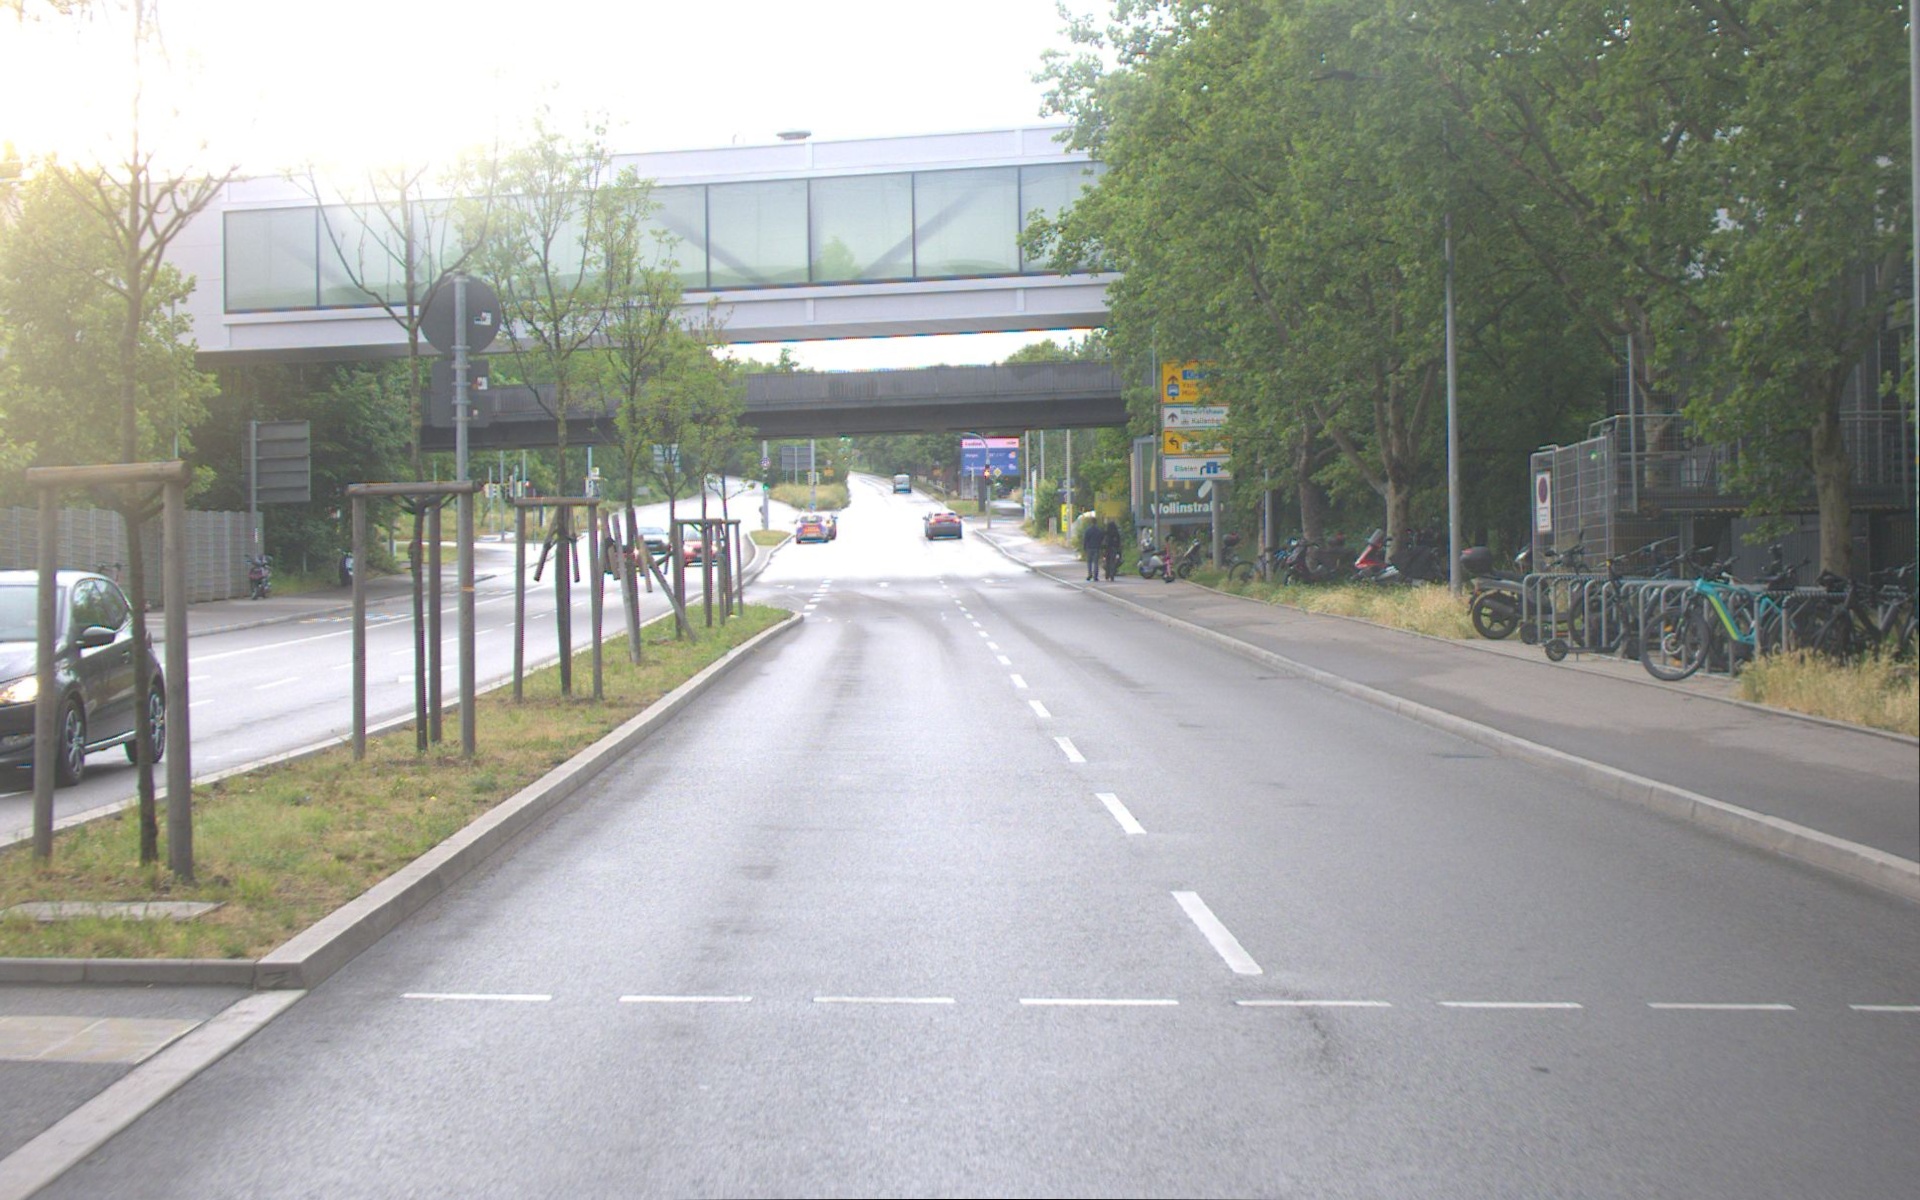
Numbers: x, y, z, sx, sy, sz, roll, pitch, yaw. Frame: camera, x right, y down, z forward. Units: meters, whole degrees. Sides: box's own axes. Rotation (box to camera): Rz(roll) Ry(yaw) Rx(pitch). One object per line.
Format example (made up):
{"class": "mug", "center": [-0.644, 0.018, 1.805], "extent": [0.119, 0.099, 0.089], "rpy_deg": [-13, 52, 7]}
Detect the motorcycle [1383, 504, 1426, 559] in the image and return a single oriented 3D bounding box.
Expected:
{"class": "motorcycle", "center": [10.795, -1.669, 83.400], "extent": [0.348, 1.275, 2.068], "rpy_deg": [0, 2, 27]}

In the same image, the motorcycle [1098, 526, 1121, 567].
{"class": "motorcycle", "center": [4.217, -1.522, 96.962], "extent": [0.469, 1.132, 1.819], "rpy_deg": [-1, 1, -2]}

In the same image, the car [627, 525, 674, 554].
{"class": "car", "center": [-15.246, -2.987, 169.465], "extent": [2.063, 1.357, 4.758], "rpy_deg": [-1, 2, -3]}

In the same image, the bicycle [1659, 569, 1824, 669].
{"class": "bicycle", "center": [7.902, 0.186, 34.784], "extent": [1.551, 0.955, 0.393], "rpy_deg": [-2, 1, -1]}

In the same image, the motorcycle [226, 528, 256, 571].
{"class": "motorcycle", "center": [-21.126, -1.491, 101.066], "extent": [0.468, 1.200, 1.997], "rpy_deg": [-1, 2, -2]}

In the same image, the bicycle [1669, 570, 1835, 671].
{"class": "bicycle", "center": [7.915, 0.200, 34.382], "extent": [1.551, 0.955, 0.393], "rpy_deg": [-2, 1, -1]}

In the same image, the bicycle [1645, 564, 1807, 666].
{"class": "bicycle", "center": [7.891, 0.154, 35.443], "extent": [1.551, 1.001, 0.393], "rpy_deg": [-2, 1, -1]}

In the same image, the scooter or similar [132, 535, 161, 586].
{"class": "scooter or similar", "center": [-20.060, -0.981, 84.770], "extent": [0.311, 1.214, 1.308], "rpy_deg": [-1, 1, 4]}

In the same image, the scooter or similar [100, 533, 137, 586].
{"class": "scooter or similar", "center": [-20.065, -0.971, 81.947], "extent": [0.311, 1.214, 1.307], "rpy_deg": [-1, 1, 11]}

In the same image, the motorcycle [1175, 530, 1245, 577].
{"class": "motorcycle", "center": [7.043, -1.315, 96.966], "extent": [1.942, 1.293, 0.546], "rpy_deg": [-1, 1, 34]}

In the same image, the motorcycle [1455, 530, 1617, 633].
{"class": "motorcycle", "center": [7.393, -0.239, 44.114], "extent": [2.009, 1.268, 0.441], "rpy_deg": [-1, 1, 11]}

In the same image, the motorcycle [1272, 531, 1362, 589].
{"class": "motorcycle", "center": [7.650, -0.862, 73.669], "extent": [1.848, 1.187, 0.522], "rpy_deg": [-2, 1, -16]}

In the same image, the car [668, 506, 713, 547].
{"class": "car", "center": [-11.118, -3.025, 142.080], "extent": [1.585, 1.600, 3.856], "rpy_deg": [-3, 1, -1]}

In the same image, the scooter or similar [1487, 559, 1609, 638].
{"class": "scooter or similar", "center": [7.303, -0.020, 42.673], "extent": [1.472, 0.933, 0.367], "rpy_deg": [-2, 1, -18]}

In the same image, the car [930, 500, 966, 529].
{"class": "car", "center": [-0.641, -4.481, 179.572], "extent": [1.744, 1.465, 4.167], "rpy_deg": [0, 2, -2]}

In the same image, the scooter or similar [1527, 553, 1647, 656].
{"class": "scooter or similar", "center": [6.814, 0.046, 37.366], "extent": [1.212, 1.087, 0.312], "rpy_deg": [-2, 1, -5]}

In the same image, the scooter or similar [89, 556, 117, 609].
{"class": "scooter or similar", "center": [-19.948, -0.409, 80.040], "extent": [0.311, 1.214, 1.308], "rpy_deg": [-1, 1, -1]}

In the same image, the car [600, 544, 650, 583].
{"class": "car", "center": [-13.266, -1.456, 136.285], "extent": [1.715, 1.432, 3.772], "rpy_deg": [-3, 1, -2]}

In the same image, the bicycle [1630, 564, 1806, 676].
{"class": "bicycle", "center": [7.150, 0.183, 32.447], "extent": [1.551, 1.001, 0.393], "rpy_deg": [-2, 1, -1]}

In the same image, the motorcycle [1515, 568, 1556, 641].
{"class": "motorcycle", "center": [10.862, 0.082, 64.947], "extent": [0.505, 1.360, 1.503], "rpy_deg": [1, 0, 0]}

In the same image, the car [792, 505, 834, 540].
{"class": "car", "center": [-7.701, -4.040, 179.813], "extent": [2.076, 1.712, 4.199], "rpy_deg": [1, 1, -3]}

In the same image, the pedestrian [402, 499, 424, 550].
{"class": "pedestrian", "center": [-19.312, -2.671, 121.370], "extent": [0.520, 1.809, 0.799], "rpy_deg": [0, 2, 9]}

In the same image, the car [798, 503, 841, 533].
{"class": "car", "center": [-7.793, -4.535, 190.605], "extent": [2.166, 1.577, 4.664], "rpy_deg": [1, 1, 0]}

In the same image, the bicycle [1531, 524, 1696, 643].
{"class": "bicycle", "center": [7.689, -0.199, 40.466], "extent": [1.857, 1.343, 0.448], "rpy_deg": [-2, 1, -13]}

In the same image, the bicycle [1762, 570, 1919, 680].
{"class": "bicycle", "center": [8.009, 0.218, 30.657], "extent": [1.607, 0.936, 0.387], "rpy_deg": [-2, 1, -1]}

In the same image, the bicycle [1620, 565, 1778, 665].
{"class": "bicycle", "center": [7.793, 0.160, 36.263], "extent": [1.551, 1.001, 0.393], "rpy_deg": [-2, 1, -1]}

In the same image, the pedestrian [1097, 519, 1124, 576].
{"class": "pedestrian", "center": [4.245, -1.482, 96.849], "extent": [0.651, 1.590, 0.578], "rpy_deg": [-1, 1, 10]}

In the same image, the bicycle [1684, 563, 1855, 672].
{"class": "bicycle", "center": [7.877, 0.167, 33.460], "extent": [1.551, 1.001, 0.393], "rpy_deg": [-2, 1, -1]}

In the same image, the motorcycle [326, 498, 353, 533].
{"class": "motorcycle", "center": [-20.983, -2.875, 116.343], "extent": [0.468, 1.154, 1.932], "rpy_deg": [-1, 2, 2]}

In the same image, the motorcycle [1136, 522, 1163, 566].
{"class": "motorcycle", "center": [5.407, -1.599, 98.098], "extent": [0.469, 1.209, 1.945], "rpy_deg": [-1, 1, -4]}

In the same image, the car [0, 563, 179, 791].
{"class": "car", "center": [-6.580, 0.476, 23.462], "extent": [1.577, 1.399, 4.111], "rpy_deg": [-2, 1, -1]}

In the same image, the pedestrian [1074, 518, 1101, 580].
{"class": "pedestrian", "center": [3.595, -1.444, 96.976], "extent": [0.611, 1.715, 0.891], "rpy_deg": [-1, 1, 9]}

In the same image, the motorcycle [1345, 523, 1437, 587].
{"class": "motorcycle", "center": [7.978, -0.828, 63.659], "extent": [1.653, 1.146, 0.493], "rpy_deg": [1, 0, 7]}

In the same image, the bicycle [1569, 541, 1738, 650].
{"class": "bicycle", "center": [7.805, -0.059, 38.682], "extent": [1.788, 1.163, 0.448], "rpy_deg": [-2, 1, -7]}

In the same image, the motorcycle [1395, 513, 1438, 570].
{"class": "motorcycle", "center": [10.428, -1.336, 78.598], "extent": [0.645, 1.275, 1.991], "rpy_deg": [-1, 1, -2]}
